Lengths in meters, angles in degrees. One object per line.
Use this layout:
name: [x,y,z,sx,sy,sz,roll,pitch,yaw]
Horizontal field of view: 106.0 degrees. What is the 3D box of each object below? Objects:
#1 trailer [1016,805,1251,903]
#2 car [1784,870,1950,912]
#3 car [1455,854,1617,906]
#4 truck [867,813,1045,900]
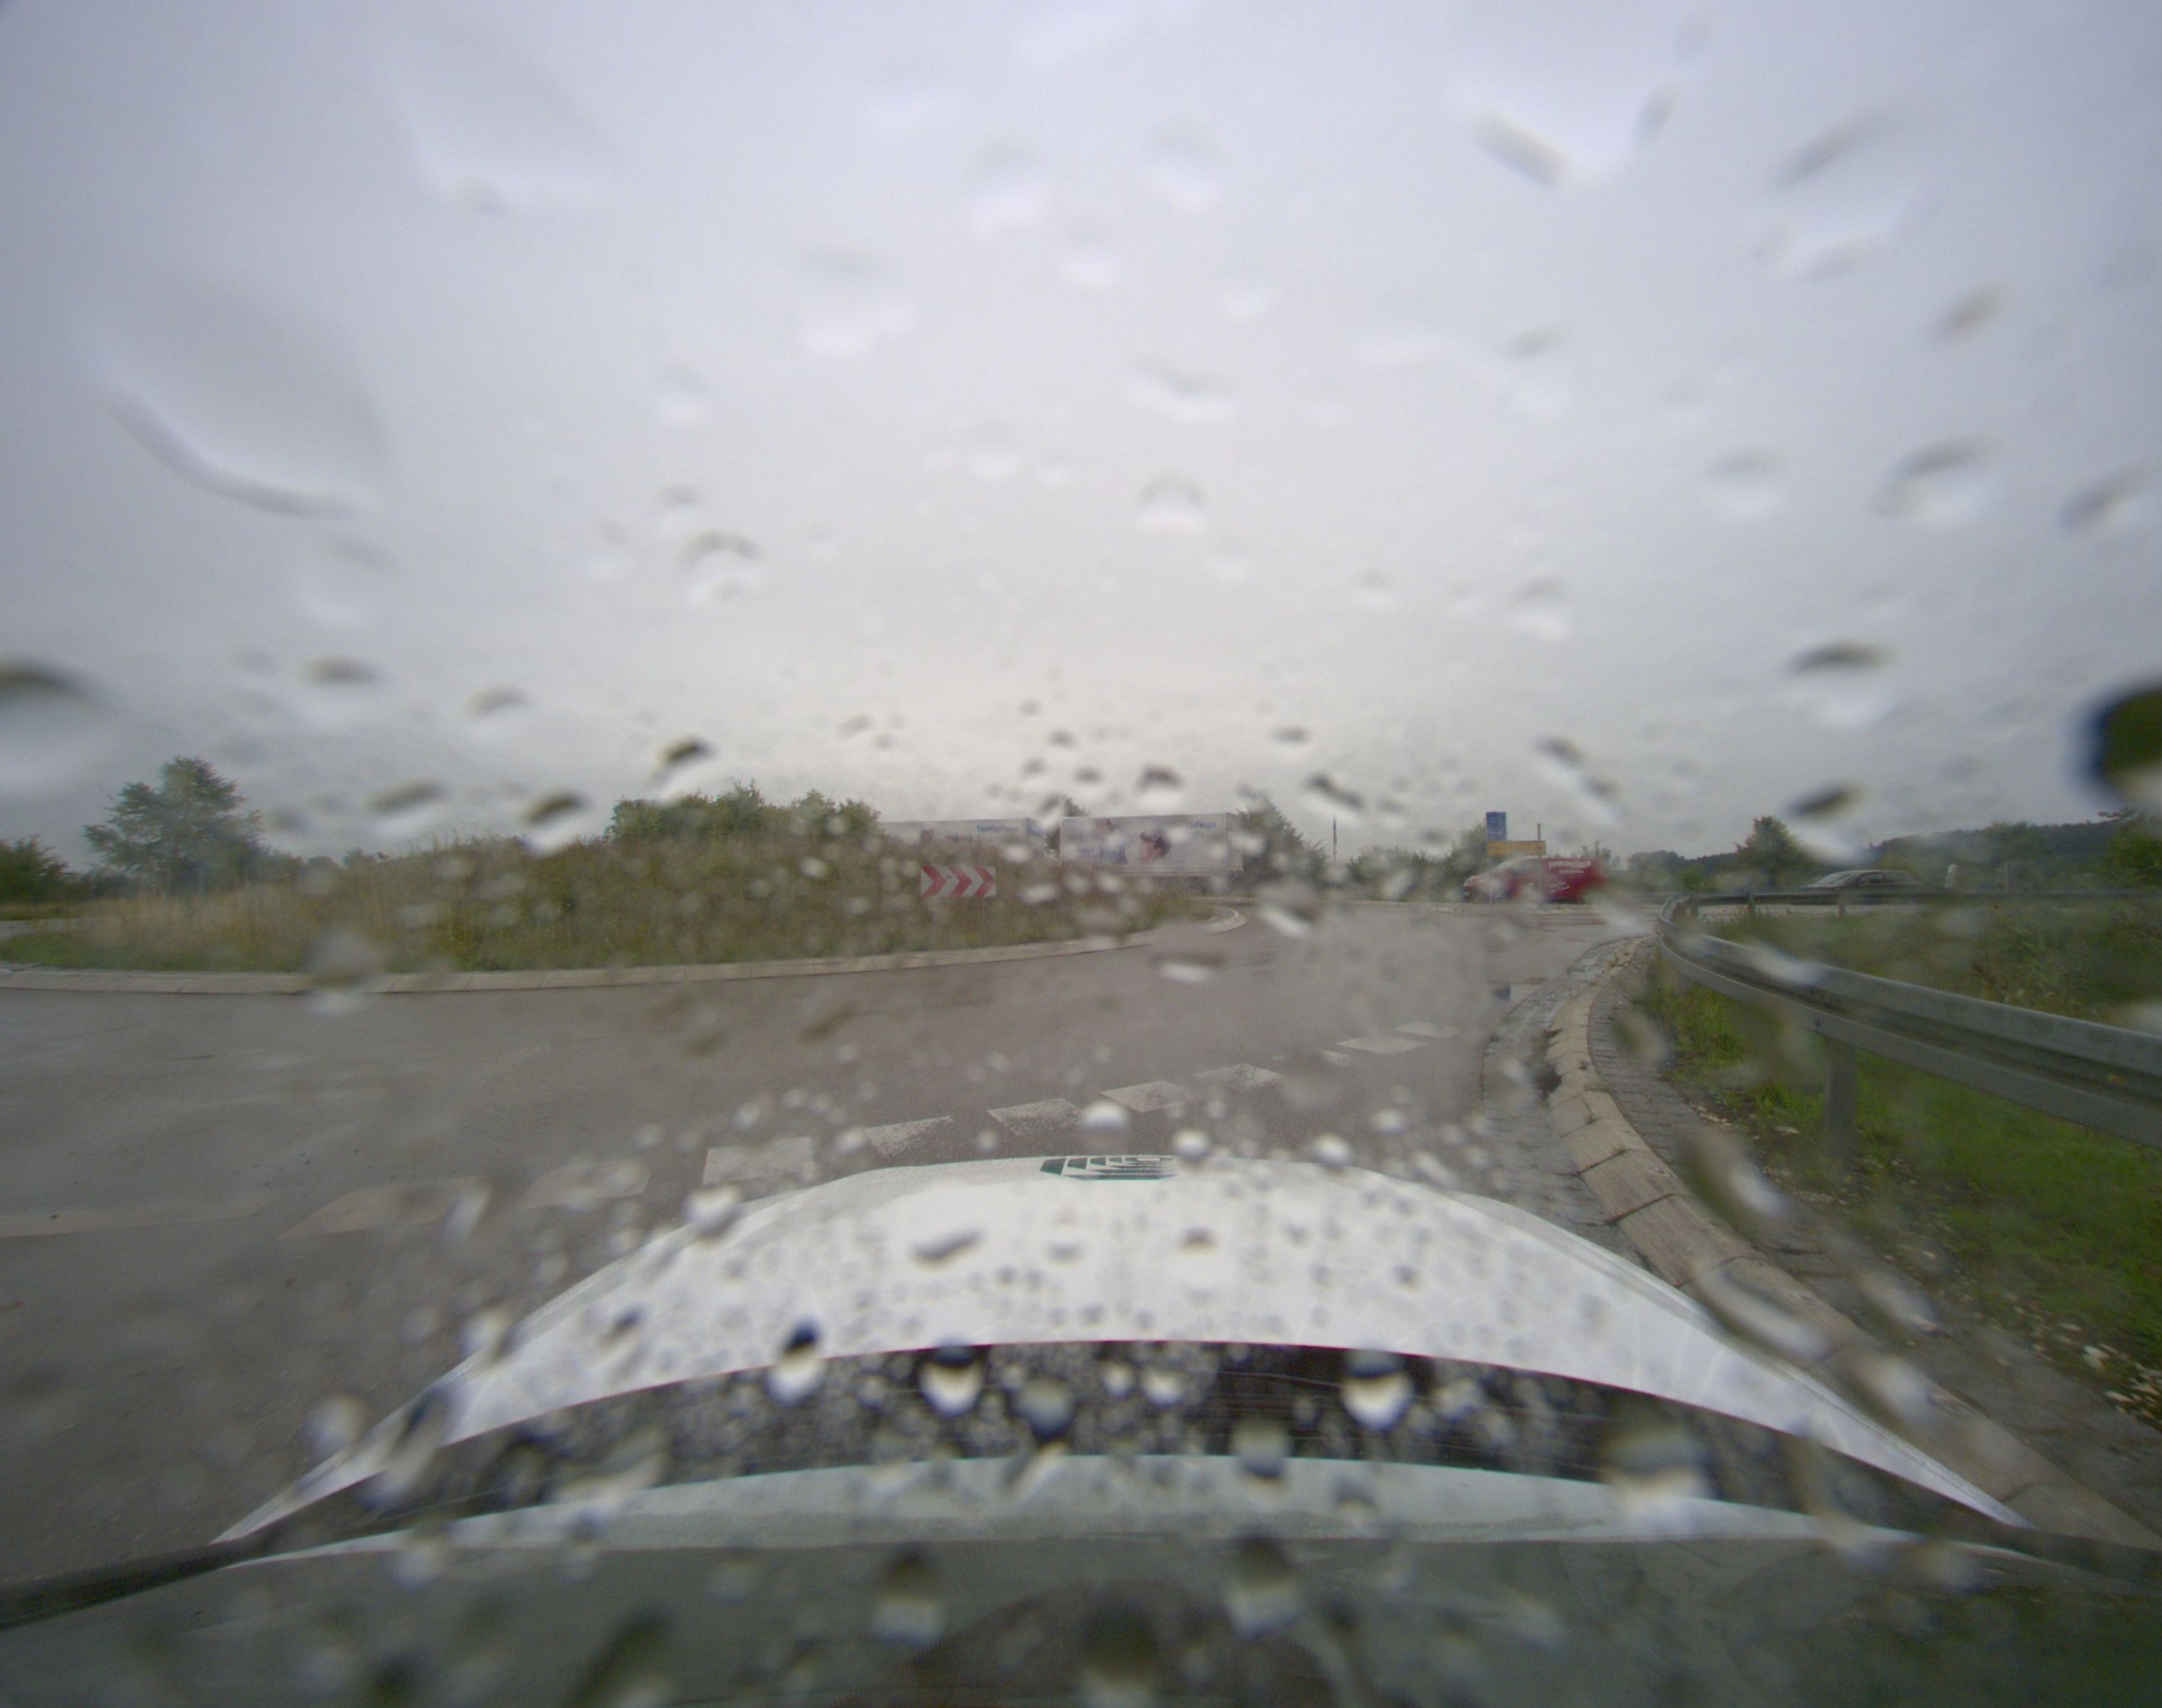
trailer: [2.143,0.122,34.915,9.597,3.819,2.856,-1,-2,23]
car: [29.145,1.345,30.279,4.476,1.421,1.873,1,-1,-2]
car: [16.987,0.969,30.611,4.940,1.870,2.002,0,-1,3]
truck: [-5.751,0.194,37.700,7.606,3.819,2.820,-1,-2,15]
